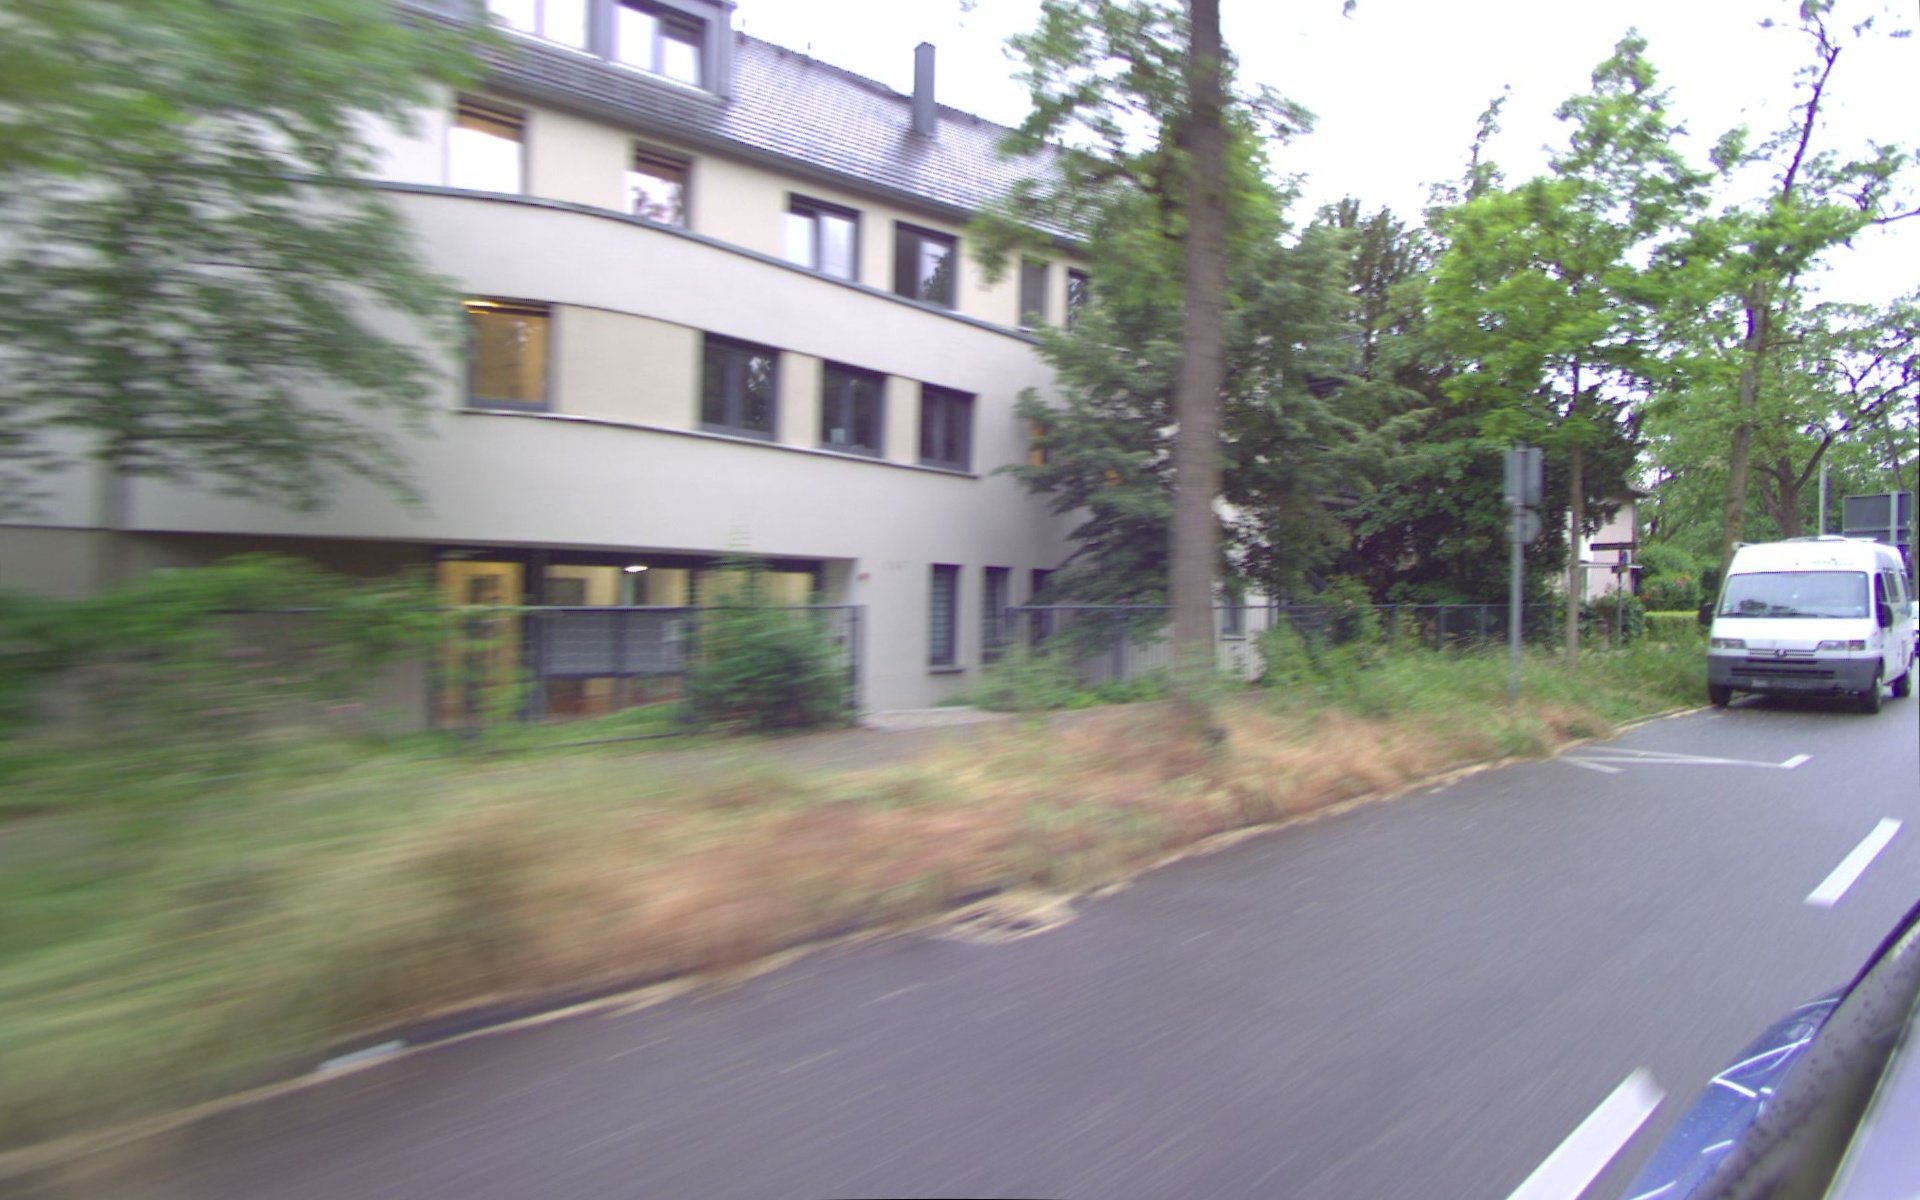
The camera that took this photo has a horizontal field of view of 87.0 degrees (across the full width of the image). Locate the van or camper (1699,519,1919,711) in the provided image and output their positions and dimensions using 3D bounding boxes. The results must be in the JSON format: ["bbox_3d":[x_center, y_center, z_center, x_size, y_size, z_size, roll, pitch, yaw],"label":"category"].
[{"bbox_3d":[13.605,0.209,15.886,5.541,2.511,2.039,0,-2,-41],"label":"van or camper"}]

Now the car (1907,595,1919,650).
[{"bbox_3d":[27.826,0.595,28.277,3.699,1.491,1.574,0,-1,-41],"label":"car"}]
